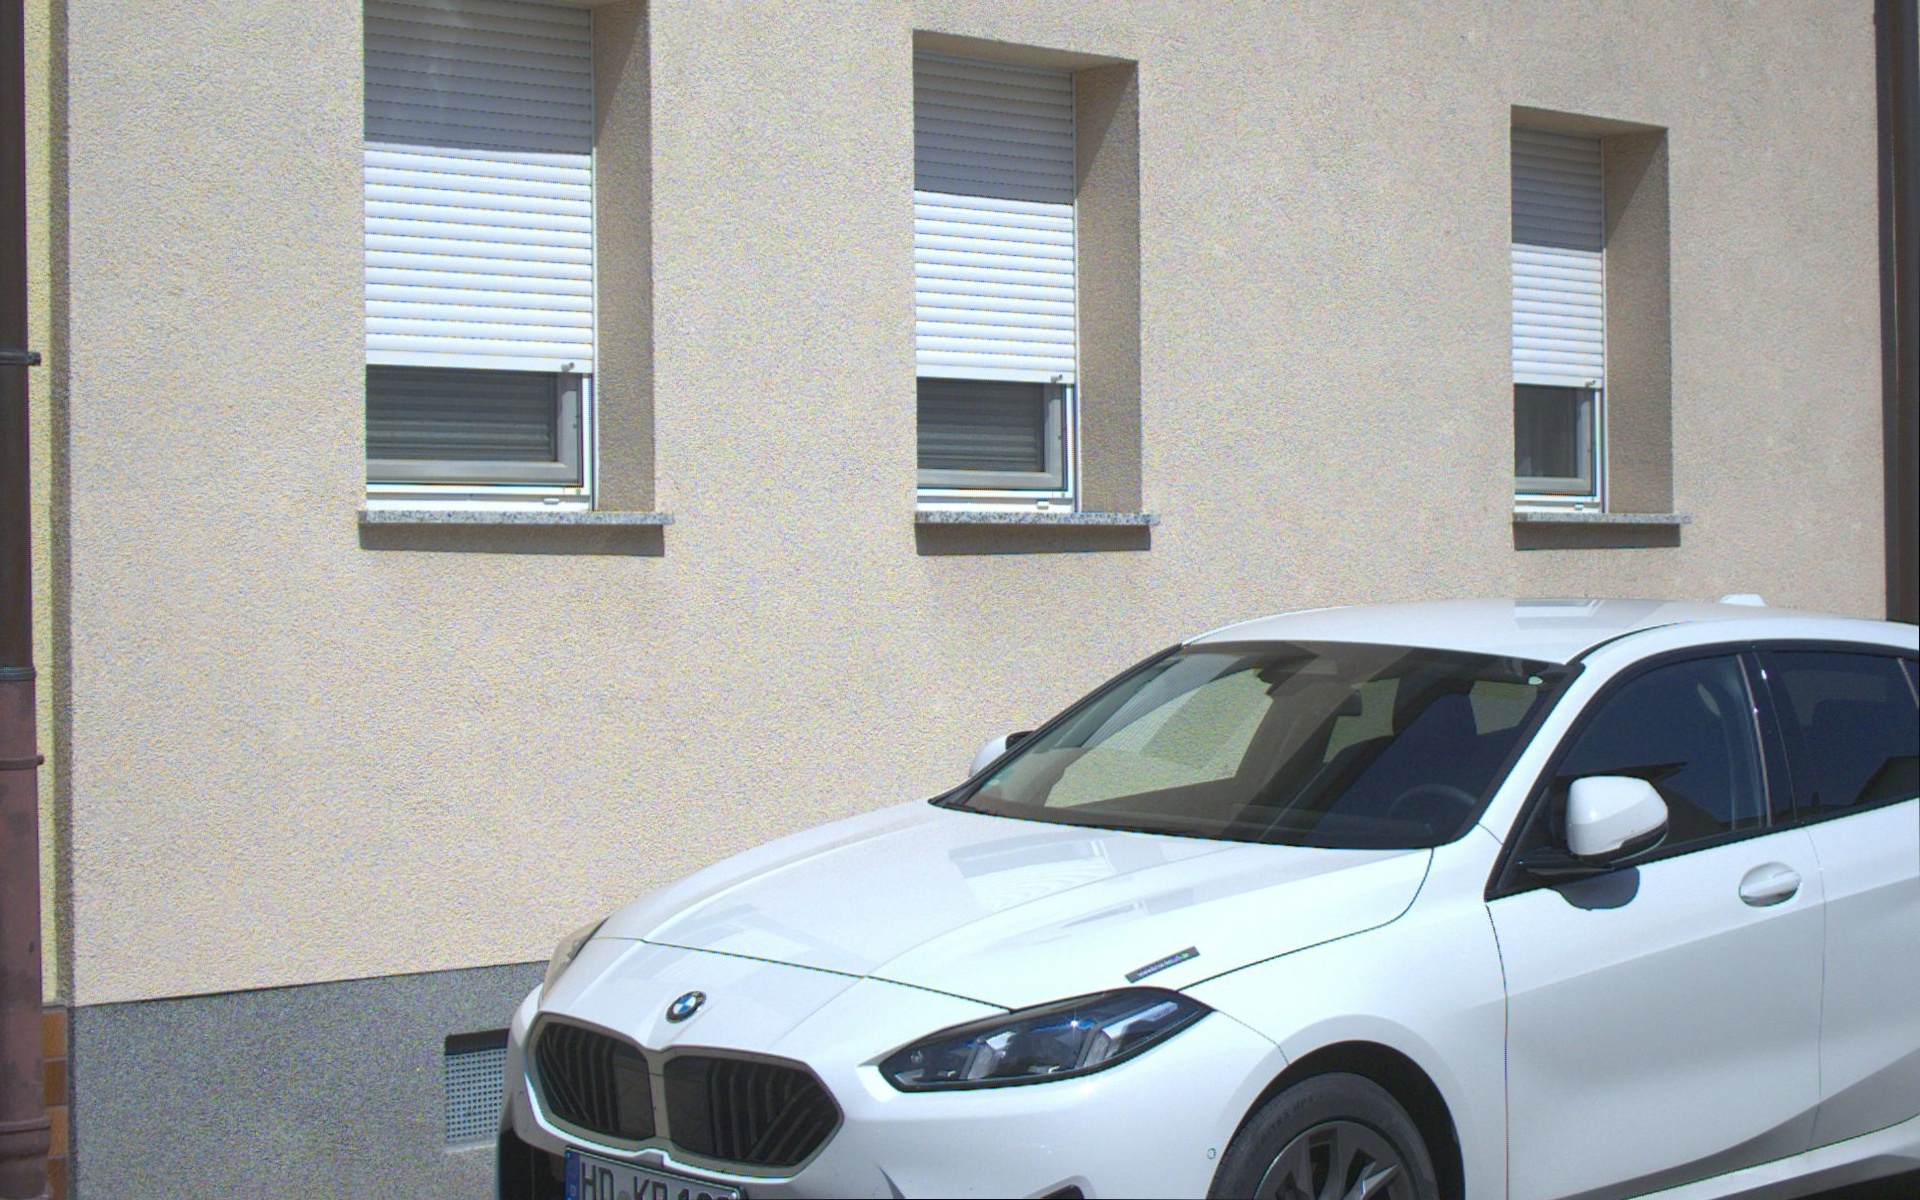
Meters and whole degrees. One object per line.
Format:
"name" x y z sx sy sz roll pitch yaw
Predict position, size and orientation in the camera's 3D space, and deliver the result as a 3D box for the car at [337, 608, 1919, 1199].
"car" 0.925 0.761 7.581 4.203 1.449 1.787 0 -1 -42
